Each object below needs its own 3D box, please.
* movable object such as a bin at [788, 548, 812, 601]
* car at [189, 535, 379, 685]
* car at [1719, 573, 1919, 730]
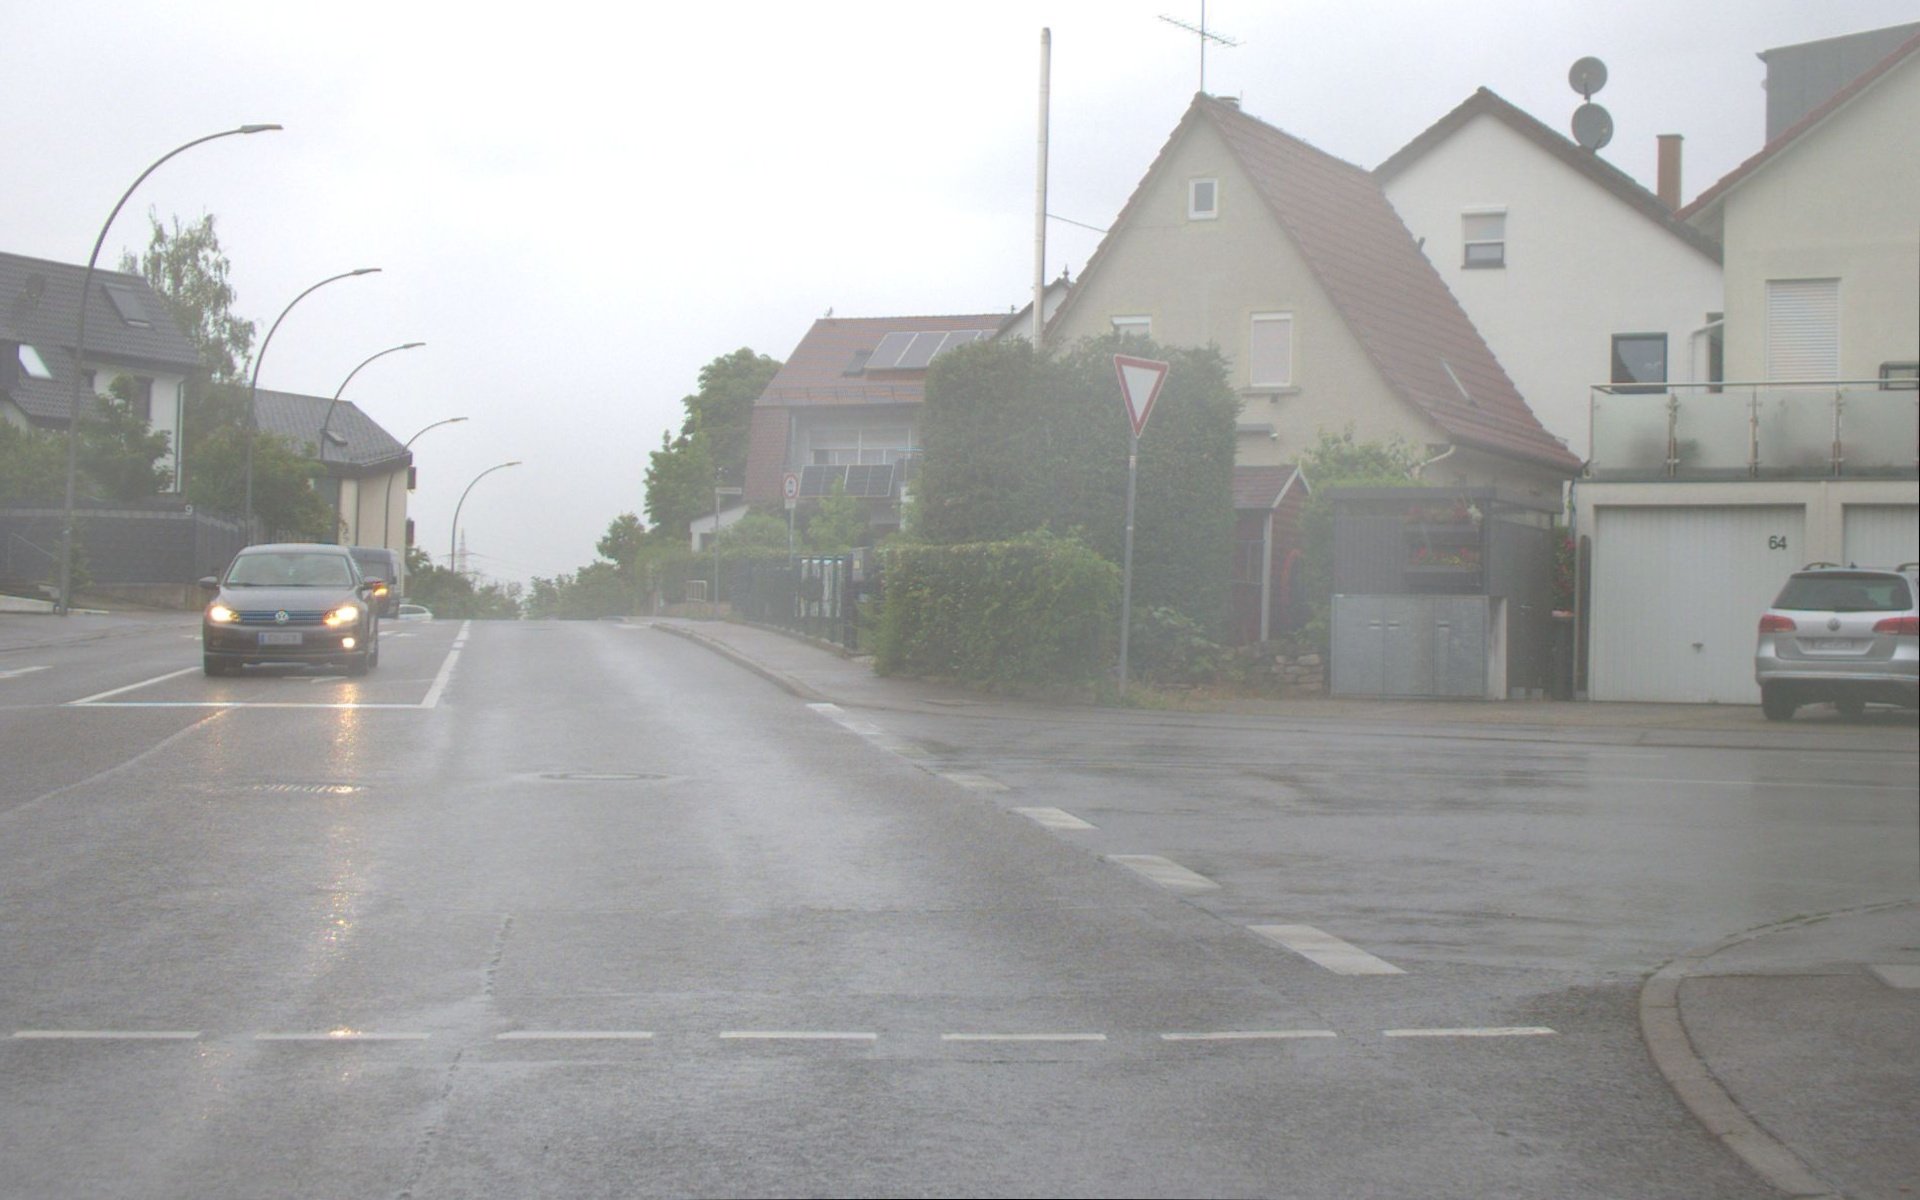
[{"bbox_3d":[-3.080,-0.496,66.031,0.443,1.018,0.525,0,0,-1],"label":"movable object such as a bin"},{"bbox_3d":[-7.549,0.068,38.172,1.943,1.568,4.227,0,1,-12],"label":"car"},{"bbox_3d":[8.938,0.449,33.423,1.996,1.393,4.144,0,1,28],"label":"car"}]
